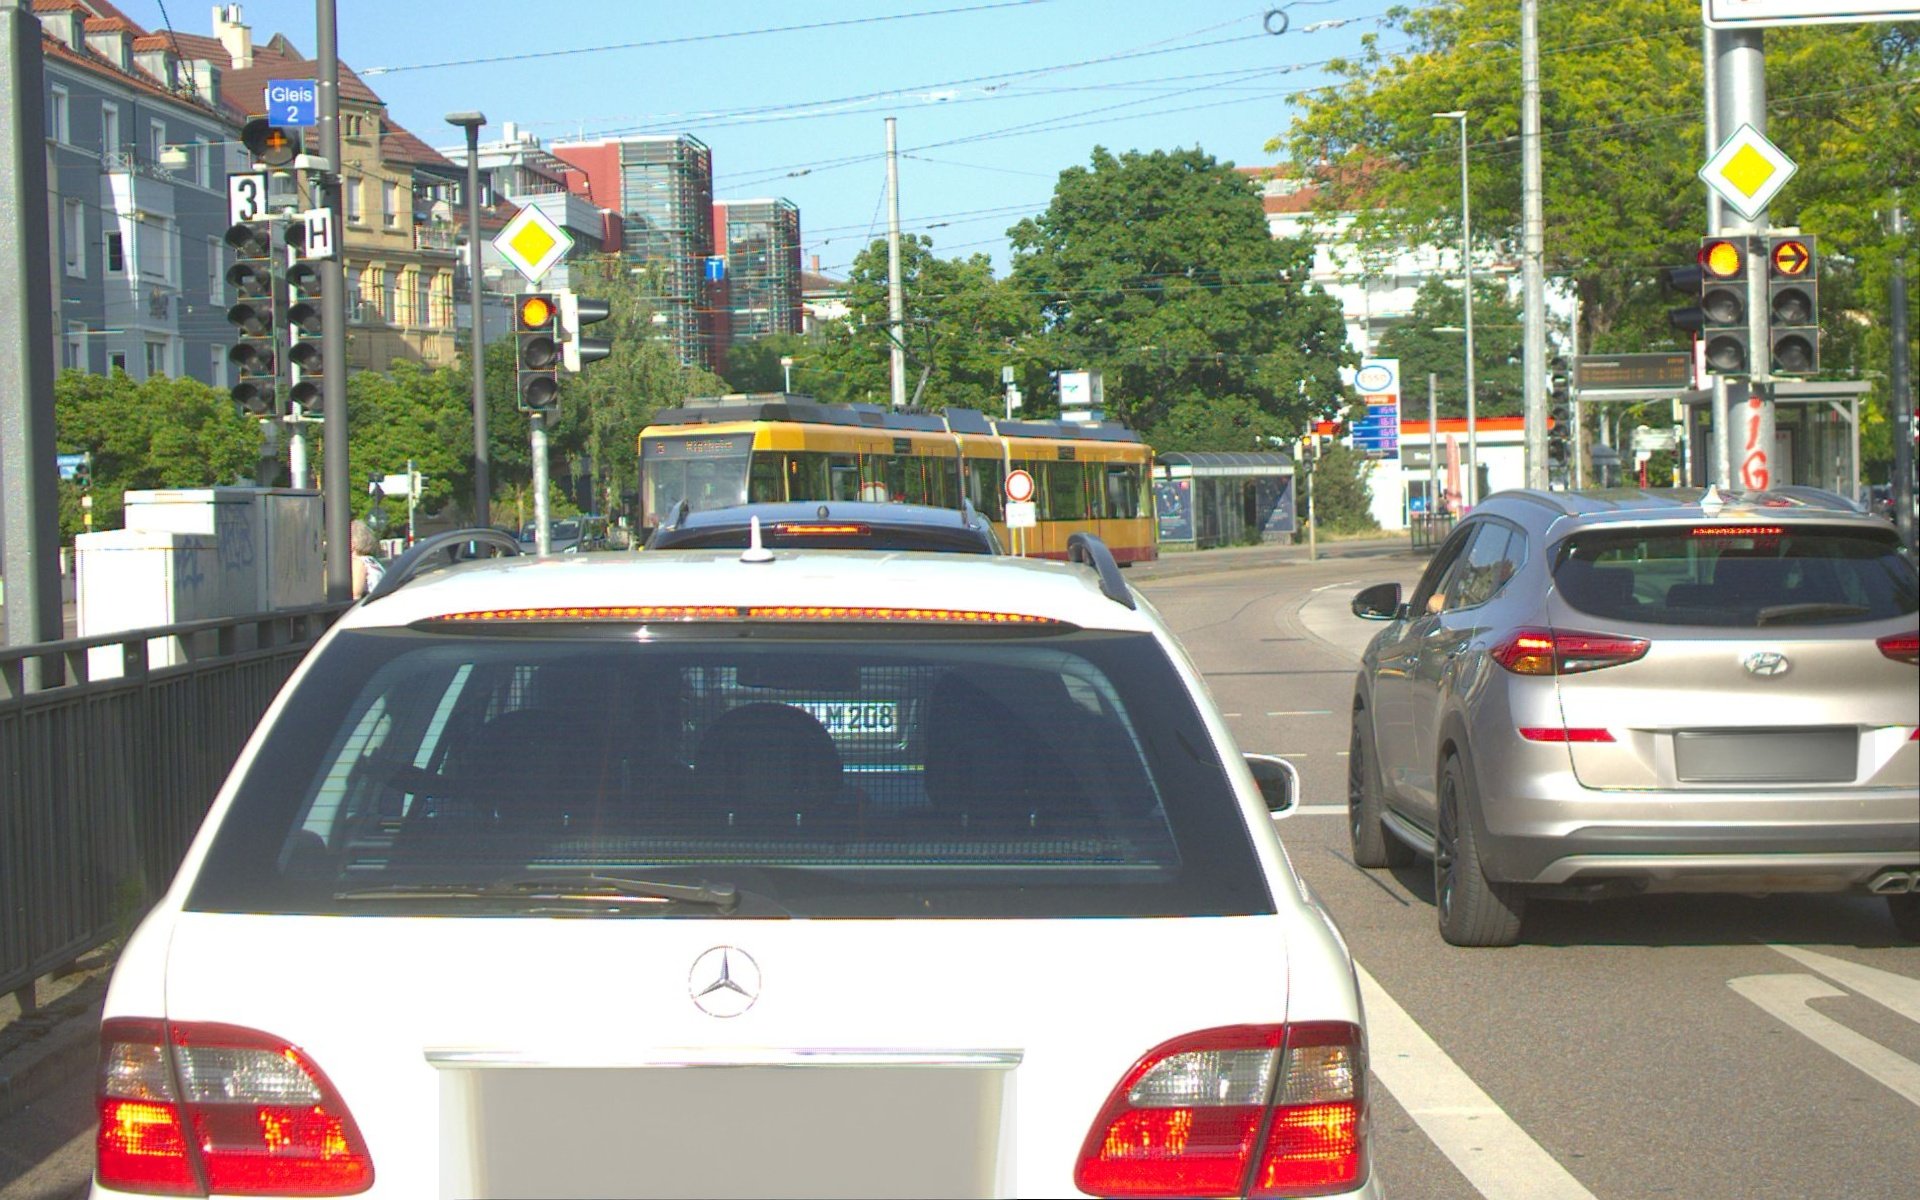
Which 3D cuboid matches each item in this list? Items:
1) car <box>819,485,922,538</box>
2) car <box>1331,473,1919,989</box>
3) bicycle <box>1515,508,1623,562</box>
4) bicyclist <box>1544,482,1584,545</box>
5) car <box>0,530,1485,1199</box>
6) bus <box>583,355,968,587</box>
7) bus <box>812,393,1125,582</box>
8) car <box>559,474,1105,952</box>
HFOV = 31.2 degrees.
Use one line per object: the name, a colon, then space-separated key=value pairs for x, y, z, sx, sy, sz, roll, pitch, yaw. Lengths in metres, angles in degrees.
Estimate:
car: x=-3.532 y=-3.488 z=135.718 sx=3.986 sy=2.007 sz=2.000 roll=1 pitch=1 yaw=-1
car: x=2.592 y=0.380 z=13.080 sx=1.885 sy=1.645 sz=3.648 roll=-2 pitch=1 yaw=-1
bicycle: x=14.501 y=-1.553 z=81.941 sx=2.483 sy=1.209 sz=0.806 roll=-1 pitch=1 yaw=8
bicyclist: x=14.394 y=-2.060 z=81.942 sx=0.861 sy=1.476 sz=0.789 roll=-2 pitch=1 yaw=7
car: x=-0.311 y=0.621 z=5.829 sx=1.796 sy=1.465 sz=3.648 roll=0 pitch=1 yaw=-1
bus: x=-2.902 y=-2.091 z=59.862 sx=3.110 sy=3.593 sz=12.367 roll=1 pitch=1 yaw=14
bus: x=0.427 y=-2.222 z=71.912 sx=3.111 sy=3.593 sz=12.581 roll=1 pitch=1 yaw=16
car: x=-0.465 y=0.353 z=13.803 sx=1.885 sy=1.645 sz=3.648 roll=1 pitch=1 yaw=-1
